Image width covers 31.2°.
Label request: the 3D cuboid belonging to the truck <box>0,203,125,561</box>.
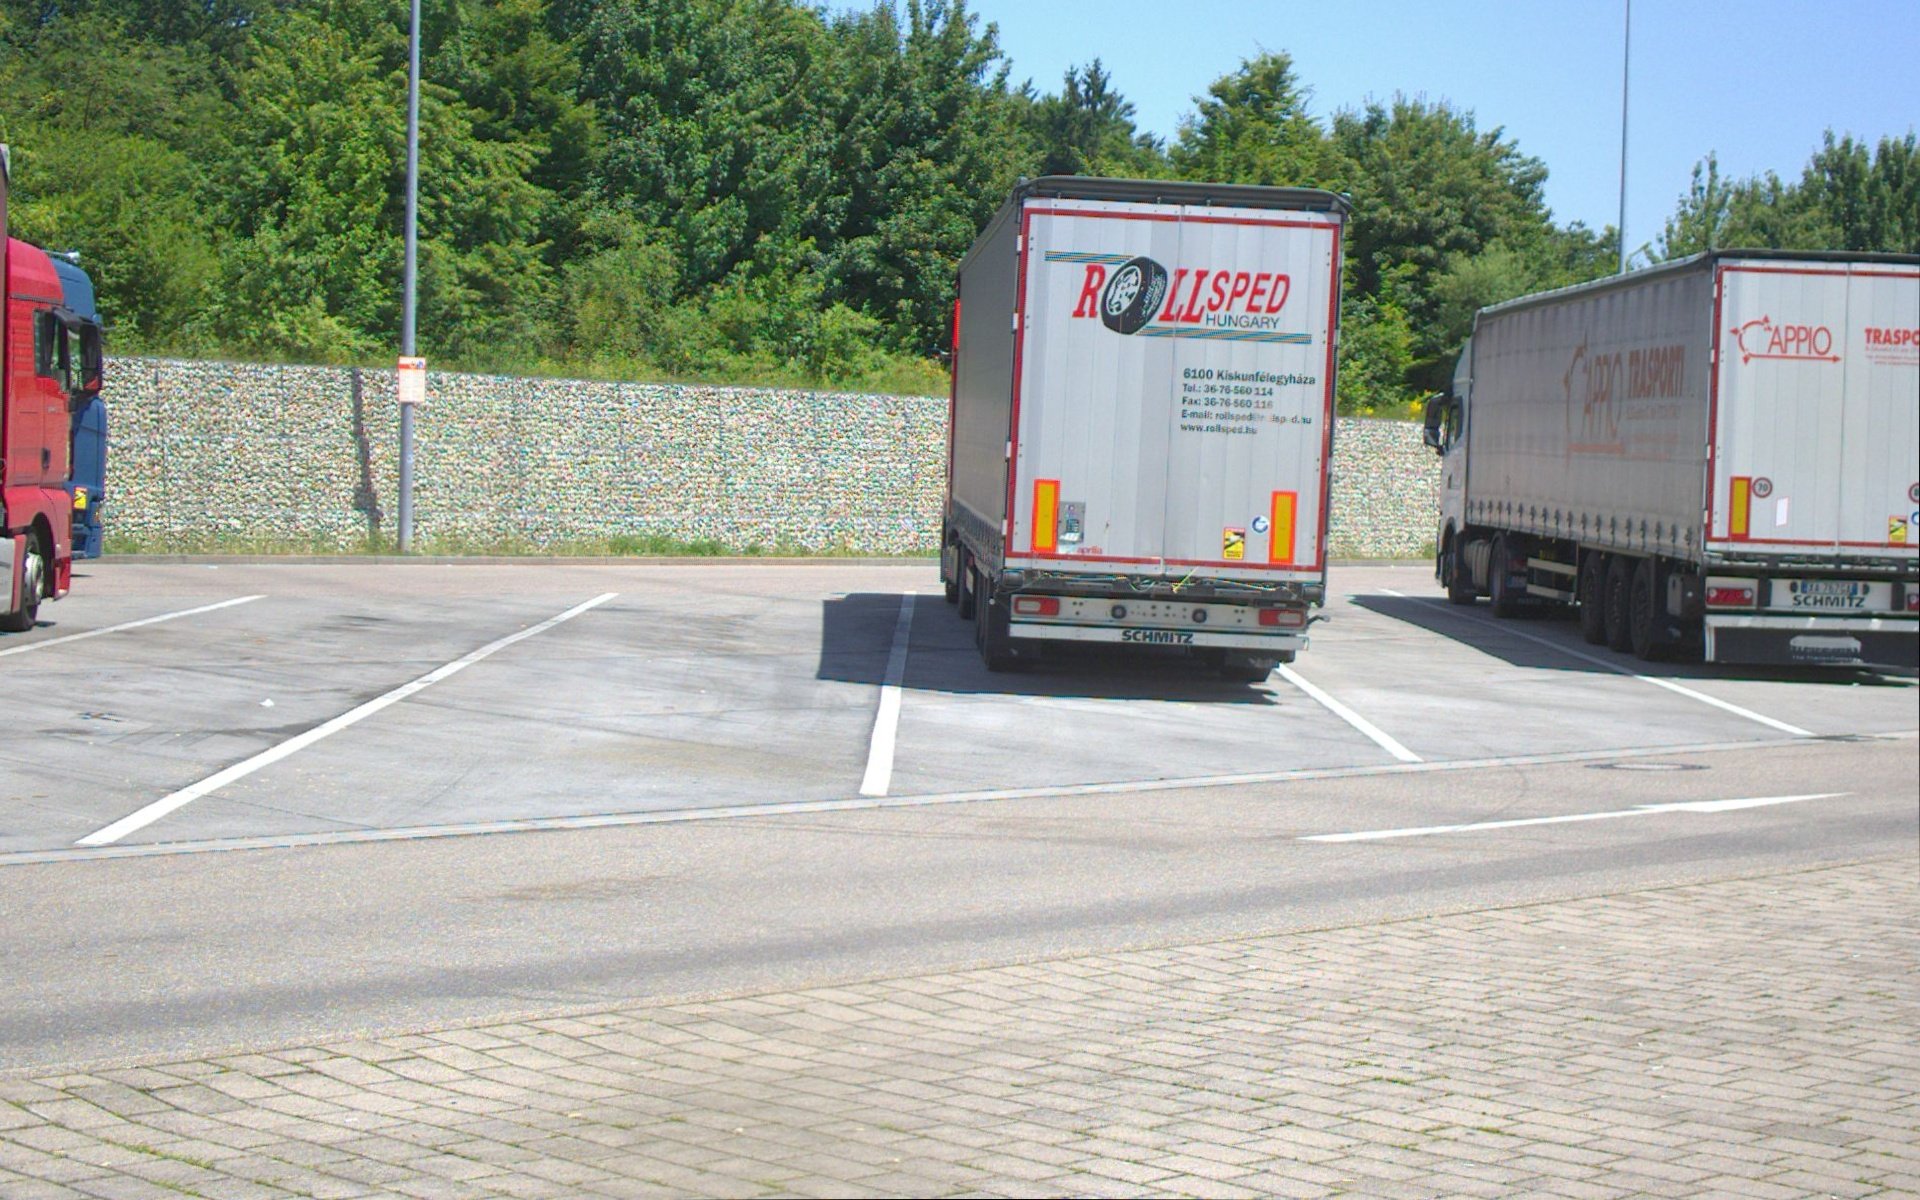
[{"bbox_3d":[-14.001,-2.513,37.041,2.240,4.019,10.028,2,1,44],"label":"truck"}]

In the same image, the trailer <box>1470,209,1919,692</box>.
[{"bbox_3d":[8.125,-1.583,38.208,2.681,4.437,12.831,1,2,-1],"label":"trailer"}]

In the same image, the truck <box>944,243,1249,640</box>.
[{"bbox_3d":[1.359,-1.694,37.711,2.871,3.966,6.030,1,2,-2],"label":"truck"}]

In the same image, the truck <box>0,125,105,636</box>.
[{"bbox_3d":[-9.163,-1.799,28.355,2.805,4.119,5.894,1,2,-1],"label":"truck"}]

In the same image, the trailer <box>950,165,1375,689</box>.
[{"bbox_3d":[1.544,-1.506,32.129,2.897,4.000,11.319,1,2,-2],"label":"trailer"}]

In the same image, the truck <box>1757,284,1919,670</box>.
[{"bbox_3d":[11.743,-1.342,38.686,2.587,4.211,11.971,1,1,-1],"label":"truck"}]

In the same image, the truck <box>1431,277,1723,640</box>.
[{"bbox_3d":[7.993,-1.830,45.238,2.661,4.437,5.864,1,2,-1],"label":"truck"}]
